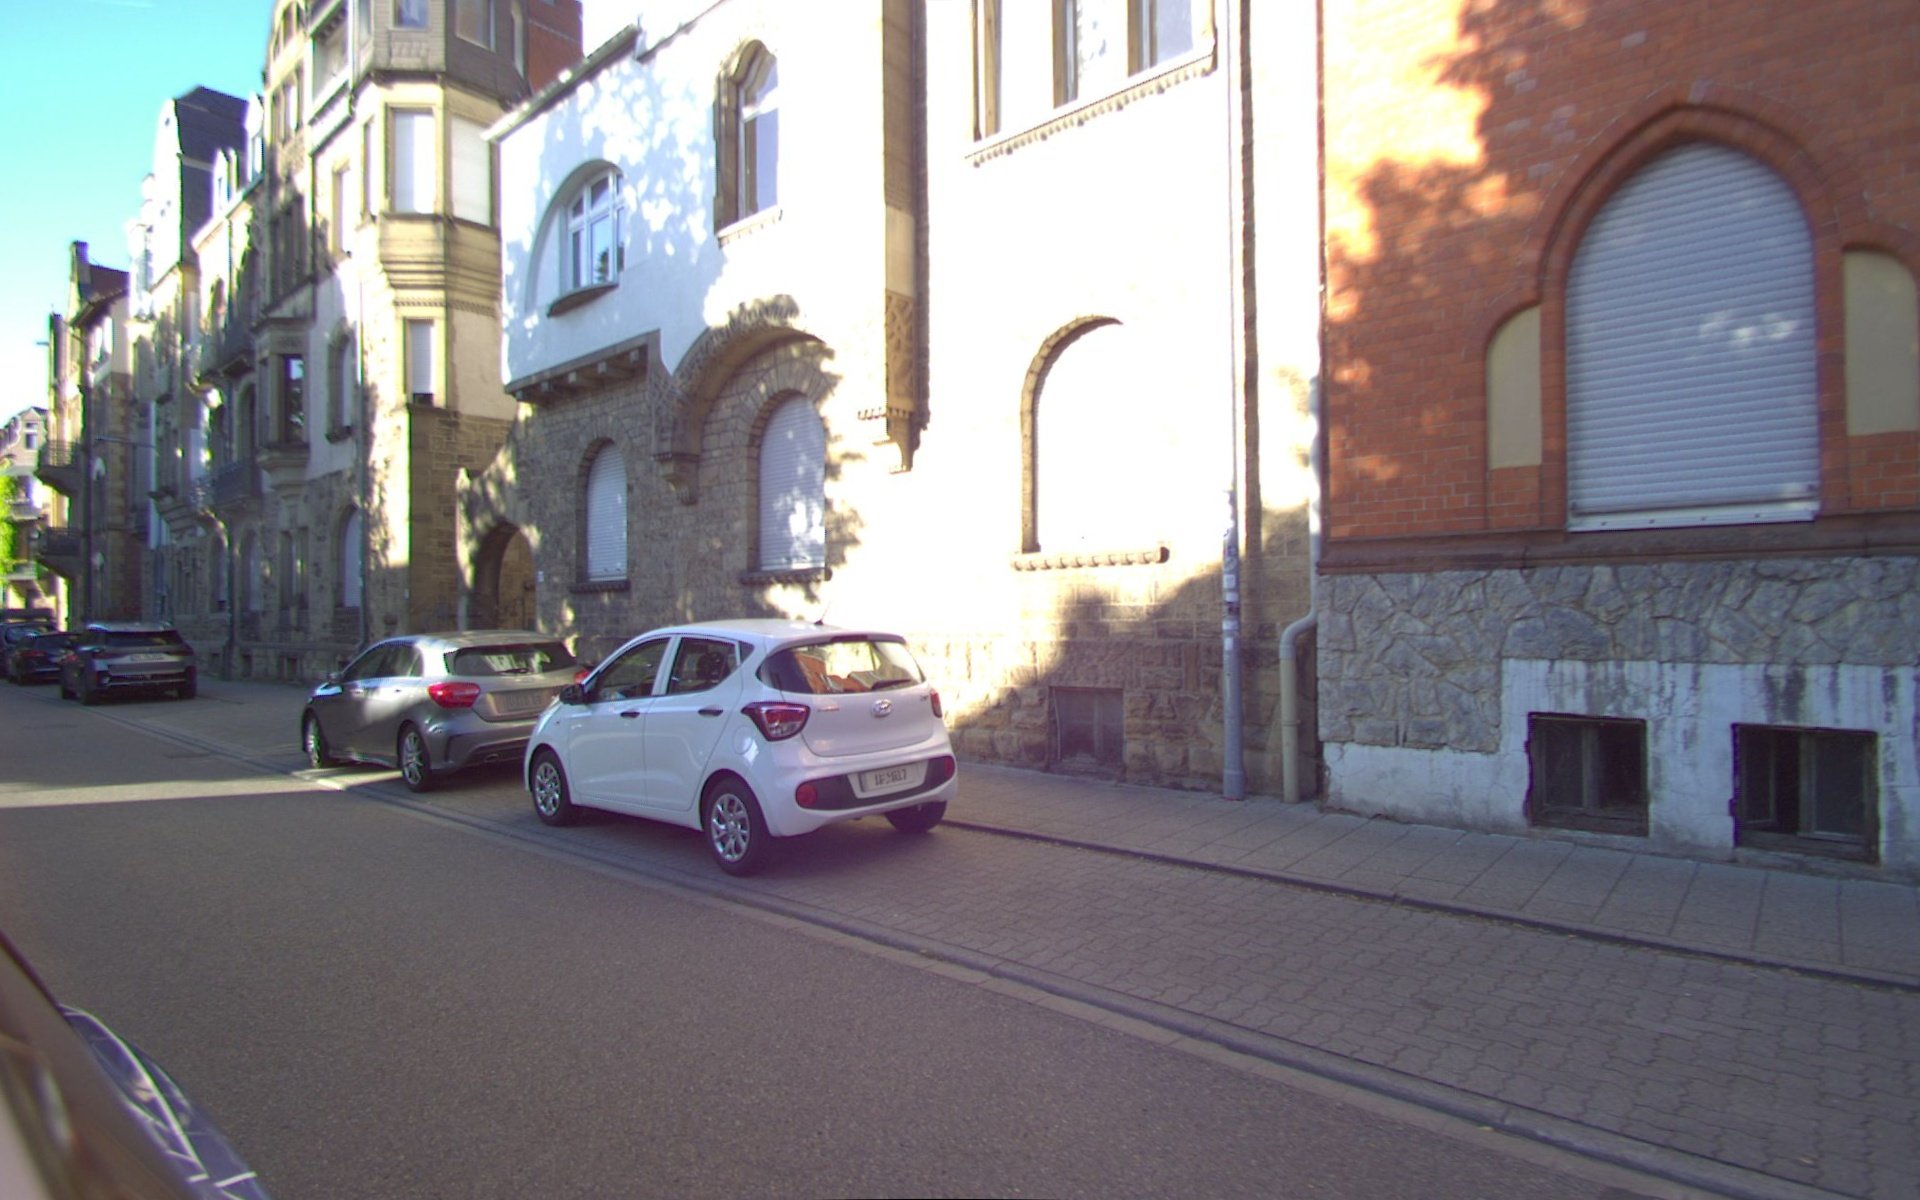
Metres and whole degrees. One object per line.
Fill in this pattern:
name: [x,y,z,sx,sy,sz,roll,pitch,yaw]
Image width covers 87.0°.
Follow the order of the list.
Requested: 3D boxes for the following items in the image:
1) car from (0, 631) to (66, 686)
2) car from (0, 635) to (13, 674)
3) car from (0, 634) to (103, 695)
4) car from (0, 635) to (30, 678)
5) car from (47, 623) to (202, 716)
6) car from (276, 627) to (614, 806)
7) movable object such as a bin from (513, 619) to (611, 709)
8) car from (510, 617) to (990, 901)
car: [-31.124,1.886,33.528,4.210,1.680,1.751,-1,-1,41]
car: [-39.646,2.266,40.938,3.854,1.516,1.612,-4,0,42]
car: [-26.238,1.793,29.160,4.210,1.512,1.751,0,-1,41]
car: [-35.510,2.117,37.181,3.854,1.458,1.612,-4,0,42]
car: [-17.640,1.395,21.304,4.337,1.730,1.856,-2,-1,41]
car: [-5.478,1.070,10.536,4.108,1.454,1.660,-2,-1,40]
movable object such as a bin: [-7.015,1.094,17.840,1.173,1.489,1.180,-1,0,41]
car: [-1.654,0.911,7.193,3.591,1.481,1.549,-3,-1,43]
